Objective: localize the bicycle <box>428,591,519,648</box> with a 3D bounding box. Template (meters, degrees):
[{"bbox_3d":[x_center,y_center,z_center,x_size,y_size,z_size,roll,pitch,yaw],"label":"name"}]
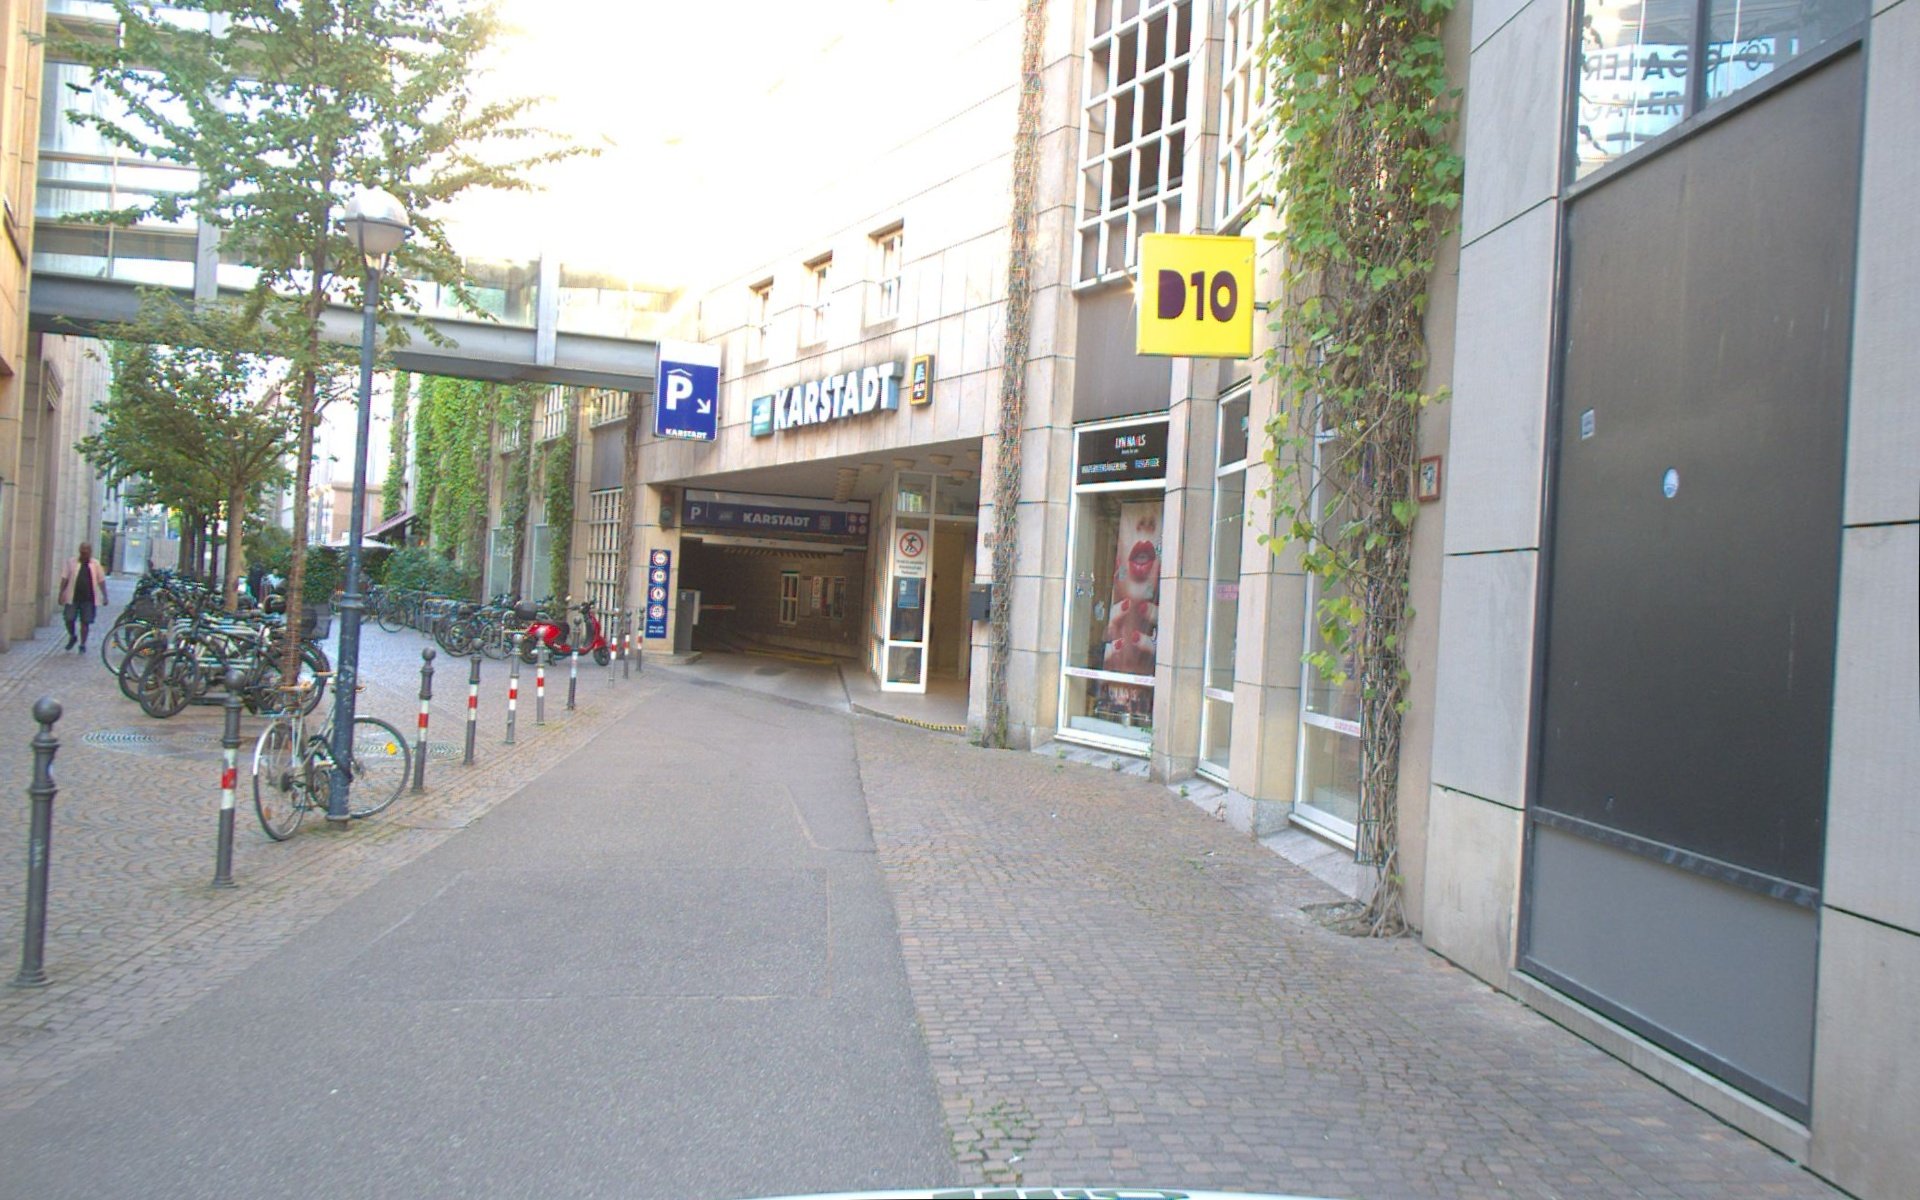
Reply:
[{"bbox_3d":[-10.363,0.419,35.239,1.752,1.134,0.538,3,0,-27],"label":"bicycle"}]

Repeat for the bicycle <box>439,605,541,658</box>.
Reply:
[{"bbox_3d":[-8.768,0.600,30.893,1.752,0.919,0.460,3,0,-27],"label":"bicycle"}]

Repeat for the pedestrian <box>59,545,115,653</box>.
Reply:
[{"bbox_3d":[-13.340,-0.022,25.290,0.690,1.610,0.712,2,0,-28],"label":"pedestrian"}]

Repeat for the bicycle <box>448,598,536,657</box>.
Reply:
[{"bbox_3d":[-9.002,0.526,31.823,1.520,1.067,0.571,3,0,-27],"label":"bicycle"}]

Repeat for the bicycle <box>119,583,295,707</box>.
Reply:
[{"bbox_3d":[-7.982,0.482,17.559,1.635,1.252,0.529,2,0,-29],"label":"bicycle"}]

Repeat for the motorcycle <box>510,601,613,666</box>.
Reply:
[{"bbox_3d":[-6.892,0.580,28.608,1.642,1.069,0.460,3,0,-27],"label":"motorcycle"}]

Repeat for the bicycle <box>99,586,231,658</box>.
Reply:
[{"bbox_3d":[-12.355,0.351,25.719,1.804,1.061,0.529,2,0,-29],"label":"bicycle"}]

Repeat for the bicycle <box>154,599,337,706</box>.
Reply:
[{"bbox_3d":[-7.962,0.594,18.457,1.815,1.142,0.529,2,0,-29],"label":"bicycle"}]

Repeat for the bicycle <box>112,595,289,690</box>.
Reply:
[{"bbox_3d":[-9.091,0.517,19.826,1.872,1.070,0.529,2,0,-29],"label":"bicycle"}]

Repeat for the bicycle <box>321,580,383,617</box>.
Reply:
[{"bbox_3d":[-19.073,-0.042,51.896,1.752,1.098,0.581,3,0,-27],"label":"bicycle"}]

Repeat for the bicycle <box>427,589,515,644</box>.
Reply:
[{"bbox_3d":[-10.723,0.373,36.279,1.752,1.134,0.538,3,0,-27],"label":"bicycle"}]

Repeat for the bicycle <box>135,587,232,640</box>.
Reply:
[{"bbox_3d":[-15.917,0.281,33.925,1.759,1.037,0.476,2,0,-29],"label":"bicycle"}]

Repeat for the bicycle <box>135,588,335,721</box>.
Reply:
[{"bbox_3d":[-7.159,0.544,16.364,1.746,1.252,0.529,2,0,-29],"label":"bicycle"}]

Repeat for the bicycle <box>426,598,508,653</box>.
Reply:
[{"bbox_3d":[-10.153,0.520,34.083,1.520,1.067,0.571,3,0,-27],"label":"bicycle"}]

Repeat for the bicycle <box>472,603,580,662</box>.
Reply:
[{"bbox_3d":[-7.904,0.594,30.132,1.825,0.999,0.460,3,0,-27],"label":"bicycle"}]

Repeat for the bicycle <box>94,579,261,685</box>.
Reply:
[{"bbox_3d":[-9.660,0.405,20.442,1.812,1.246,0.529,2,0,-29],"label":"bicycle"}]

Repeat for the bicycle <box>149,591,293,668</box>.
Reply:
[{"bbox_3d":[-10.773,0.434,24.123,1.855,1.061,0.529,2,0,-29],"label":"bicycle"}]

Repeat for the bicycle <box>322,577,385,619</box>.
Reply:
[{"bbox_3d":[-18.686,-0.067,50.947,1.752,1.211,0.581,3,0,-27],"label":"bicycle"}]

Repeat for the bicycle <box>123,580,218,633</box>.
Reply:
[{"bbox_3d":[-16.557,0.133,34.697,1.759,1.037,0.476,2,0,-29],"label":"bicycle"}]

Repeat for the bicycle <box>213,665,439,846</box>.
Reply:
[{"bbox_3d":[-3.892,0.920,10.287,0.482,0.955,1.660,4,0,9],"label":"bicycle"}]

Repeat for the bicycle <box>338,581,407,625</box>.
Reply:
[{"bbox_3d":[-16.338,0.076,45.984,1.750,1.134,0.539,3,0,-24],"label":"bicycle"}]

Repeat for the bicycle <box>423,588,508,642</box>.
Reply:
[{"bbox_3d":[-11.196,0.338,37.435,1.752,1.134,0.538,3,0,-27],"label":"bicycle"}]

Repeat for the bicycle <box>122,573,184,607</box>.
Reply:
[{"bbox_3d":[-28.108,-0.351,57.647,1.884,1.131,0.476,2,0,-30],"label":"bicycle"}]

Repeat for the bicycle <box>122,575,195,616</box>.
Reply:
[{"bbox_3d":[-23.550,-0.115,48.606,1.882,1.131,0.476,2,0,-29],"label":"bicycle"}]

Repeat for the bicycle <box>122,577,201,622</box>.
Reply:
[{"bbox_3d":[-21.572,-0.008,44.682,1.882,1.131,0.476,2,0,-29],"label":"bicycle"}]

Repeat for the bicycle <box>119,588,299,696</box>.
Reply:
[{"bbox_3d":[-8.765,0.499,19.329,1.851,1.198,0.529,2,0,-29],"label":"bicycle"}]

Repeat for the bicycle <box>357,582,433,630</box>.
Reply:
[{"bbox_3d":[-14.404,0.157,42.203,1.752,1.134,0.538,3,0,-27],"label":"bicycle"}]

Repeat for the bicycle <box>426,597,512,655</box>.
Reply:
[{"bbox_3d":[-9.715,0.517,32.727,1.520,1.067,0.571,3,0,-27],"label":"bicycle"}]

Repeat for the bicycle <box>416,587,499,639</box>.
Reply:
[{"bbox_3d":[-11.686,0.297,38.463,1.752,1.134,0.538,3,0,-27],"label":"bicycle"}]

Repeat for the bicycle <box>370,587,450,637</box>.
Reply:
[{"bbox_3d":[-13.463,0.293,40.493,1.752,1.134,0.538,3,0,-27],"label":"bicycle"}]
